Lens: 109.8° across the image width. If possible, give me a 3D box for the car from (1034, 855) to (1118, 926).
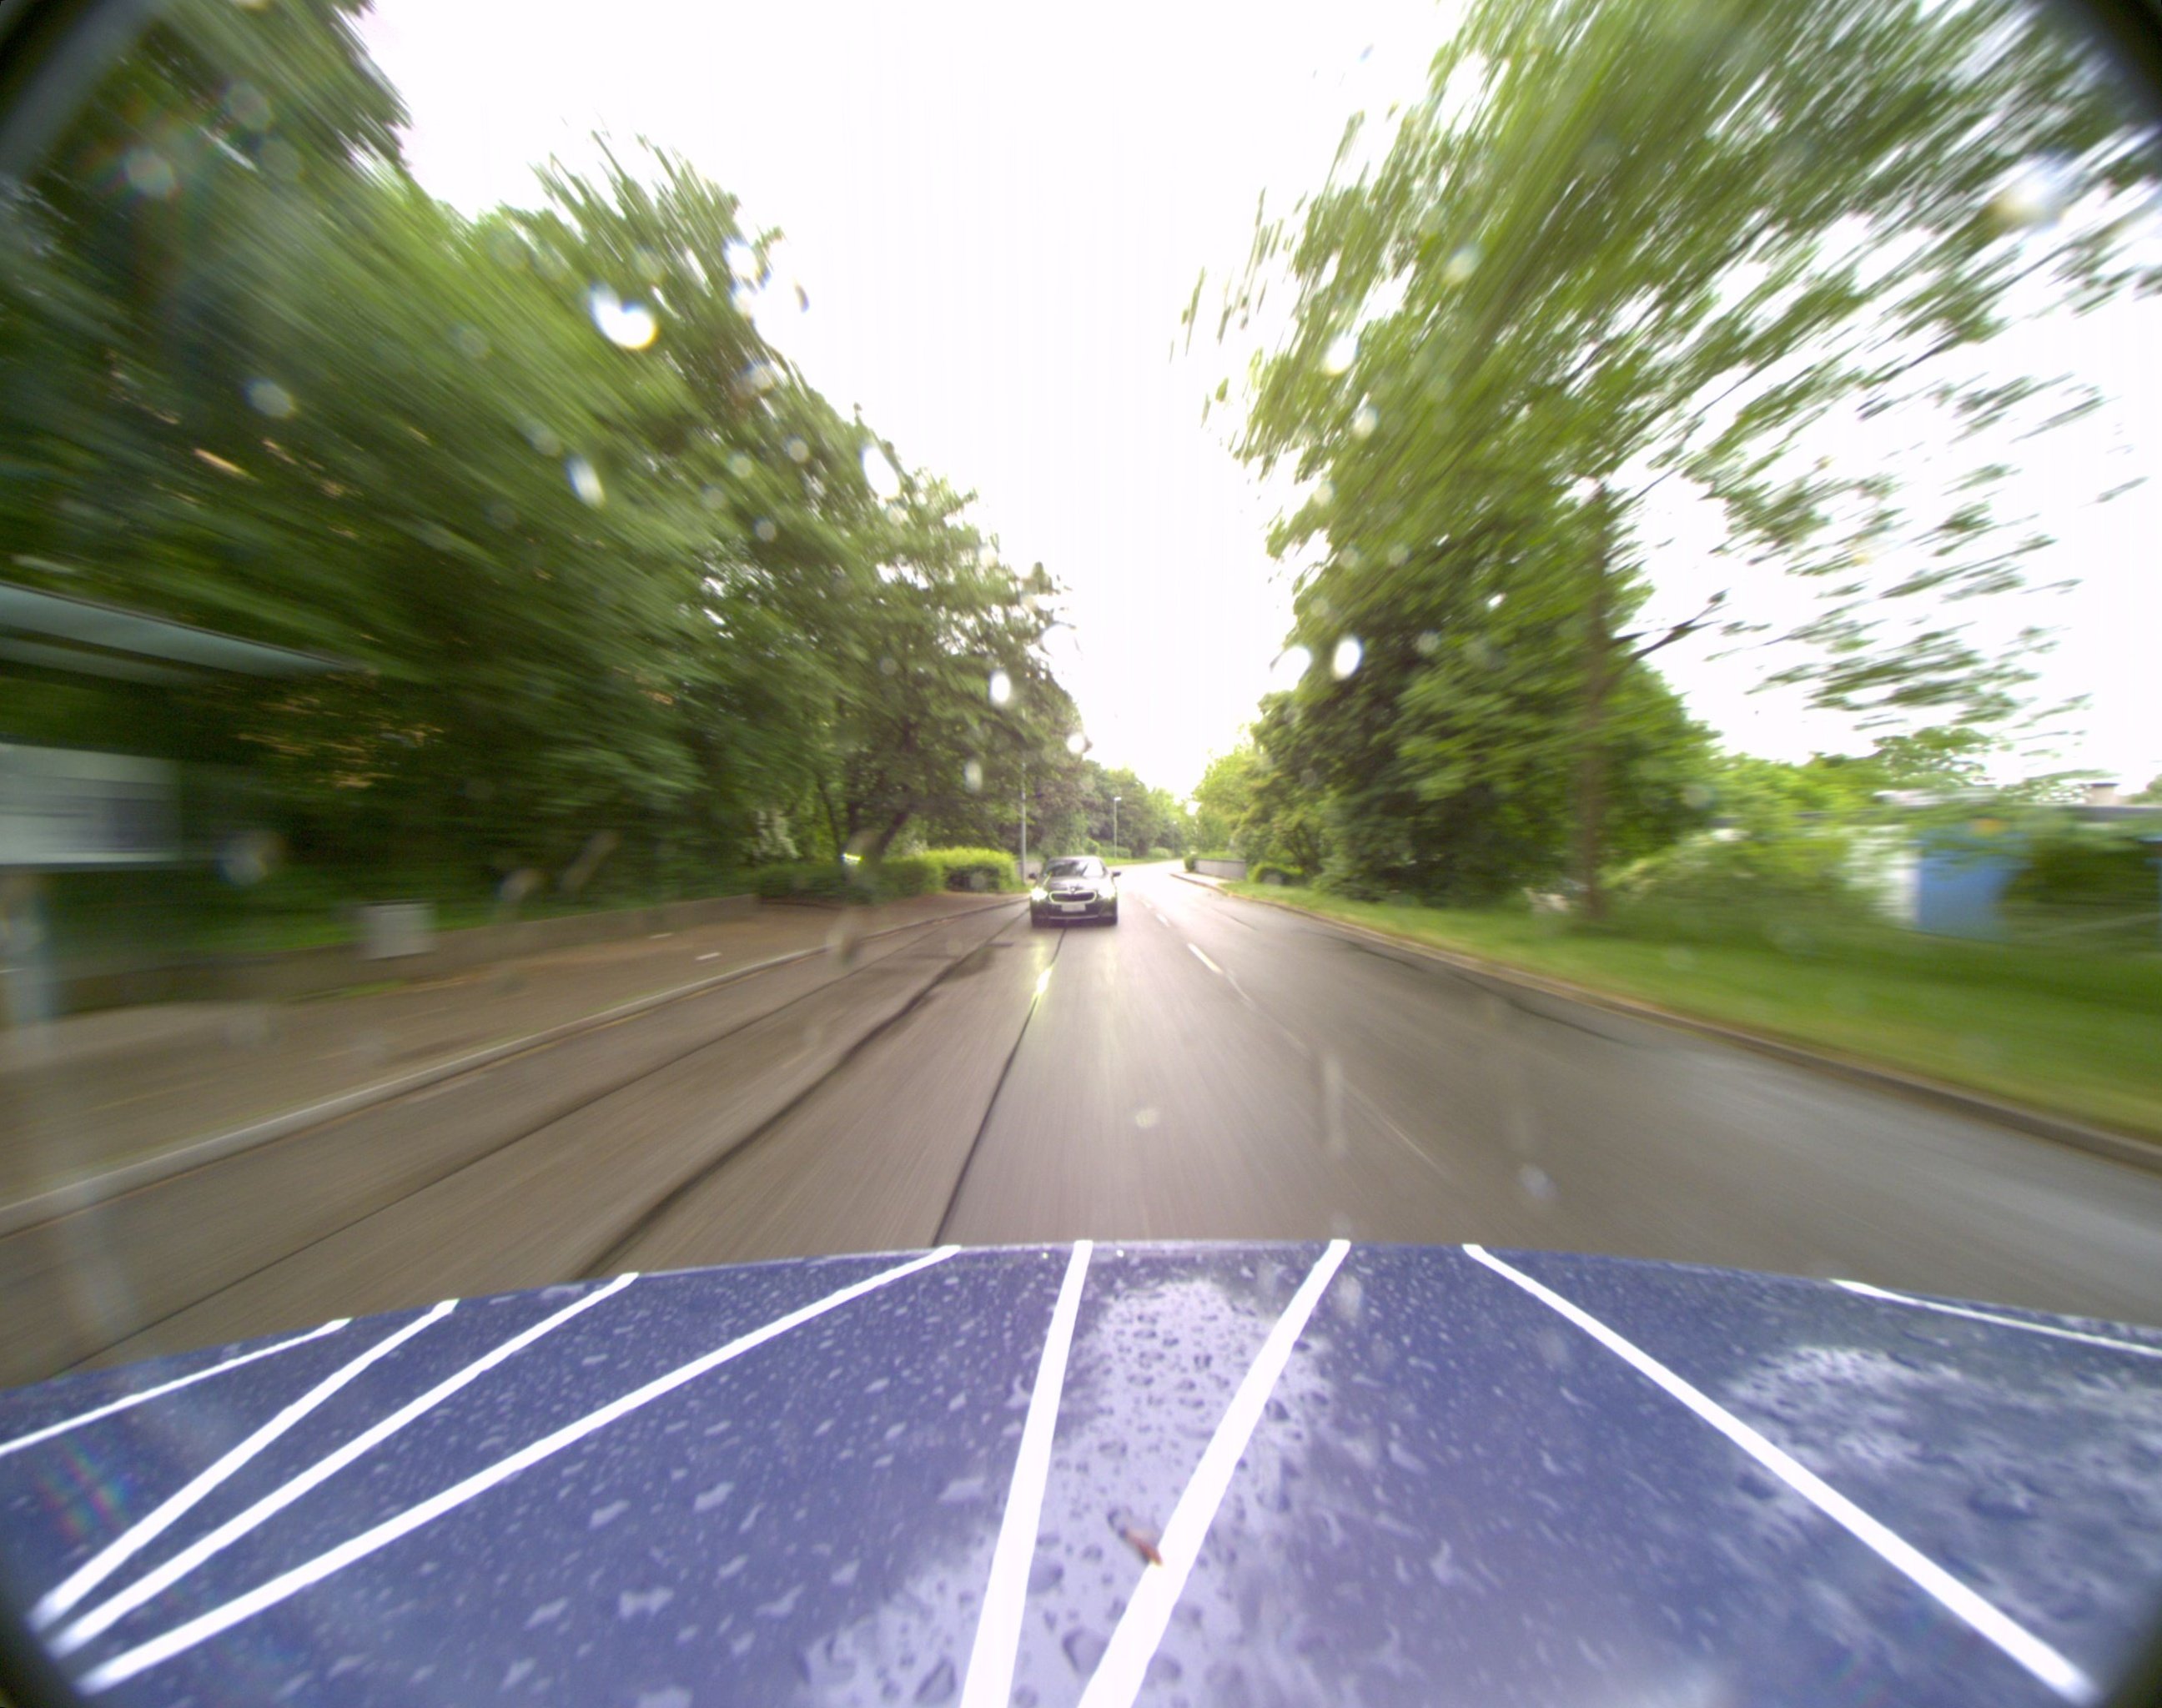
[{"bbox_3d":[-0.089,0.819,19.253,1.832,1.499,4.498,-2,0,1],"label":"car"}]
